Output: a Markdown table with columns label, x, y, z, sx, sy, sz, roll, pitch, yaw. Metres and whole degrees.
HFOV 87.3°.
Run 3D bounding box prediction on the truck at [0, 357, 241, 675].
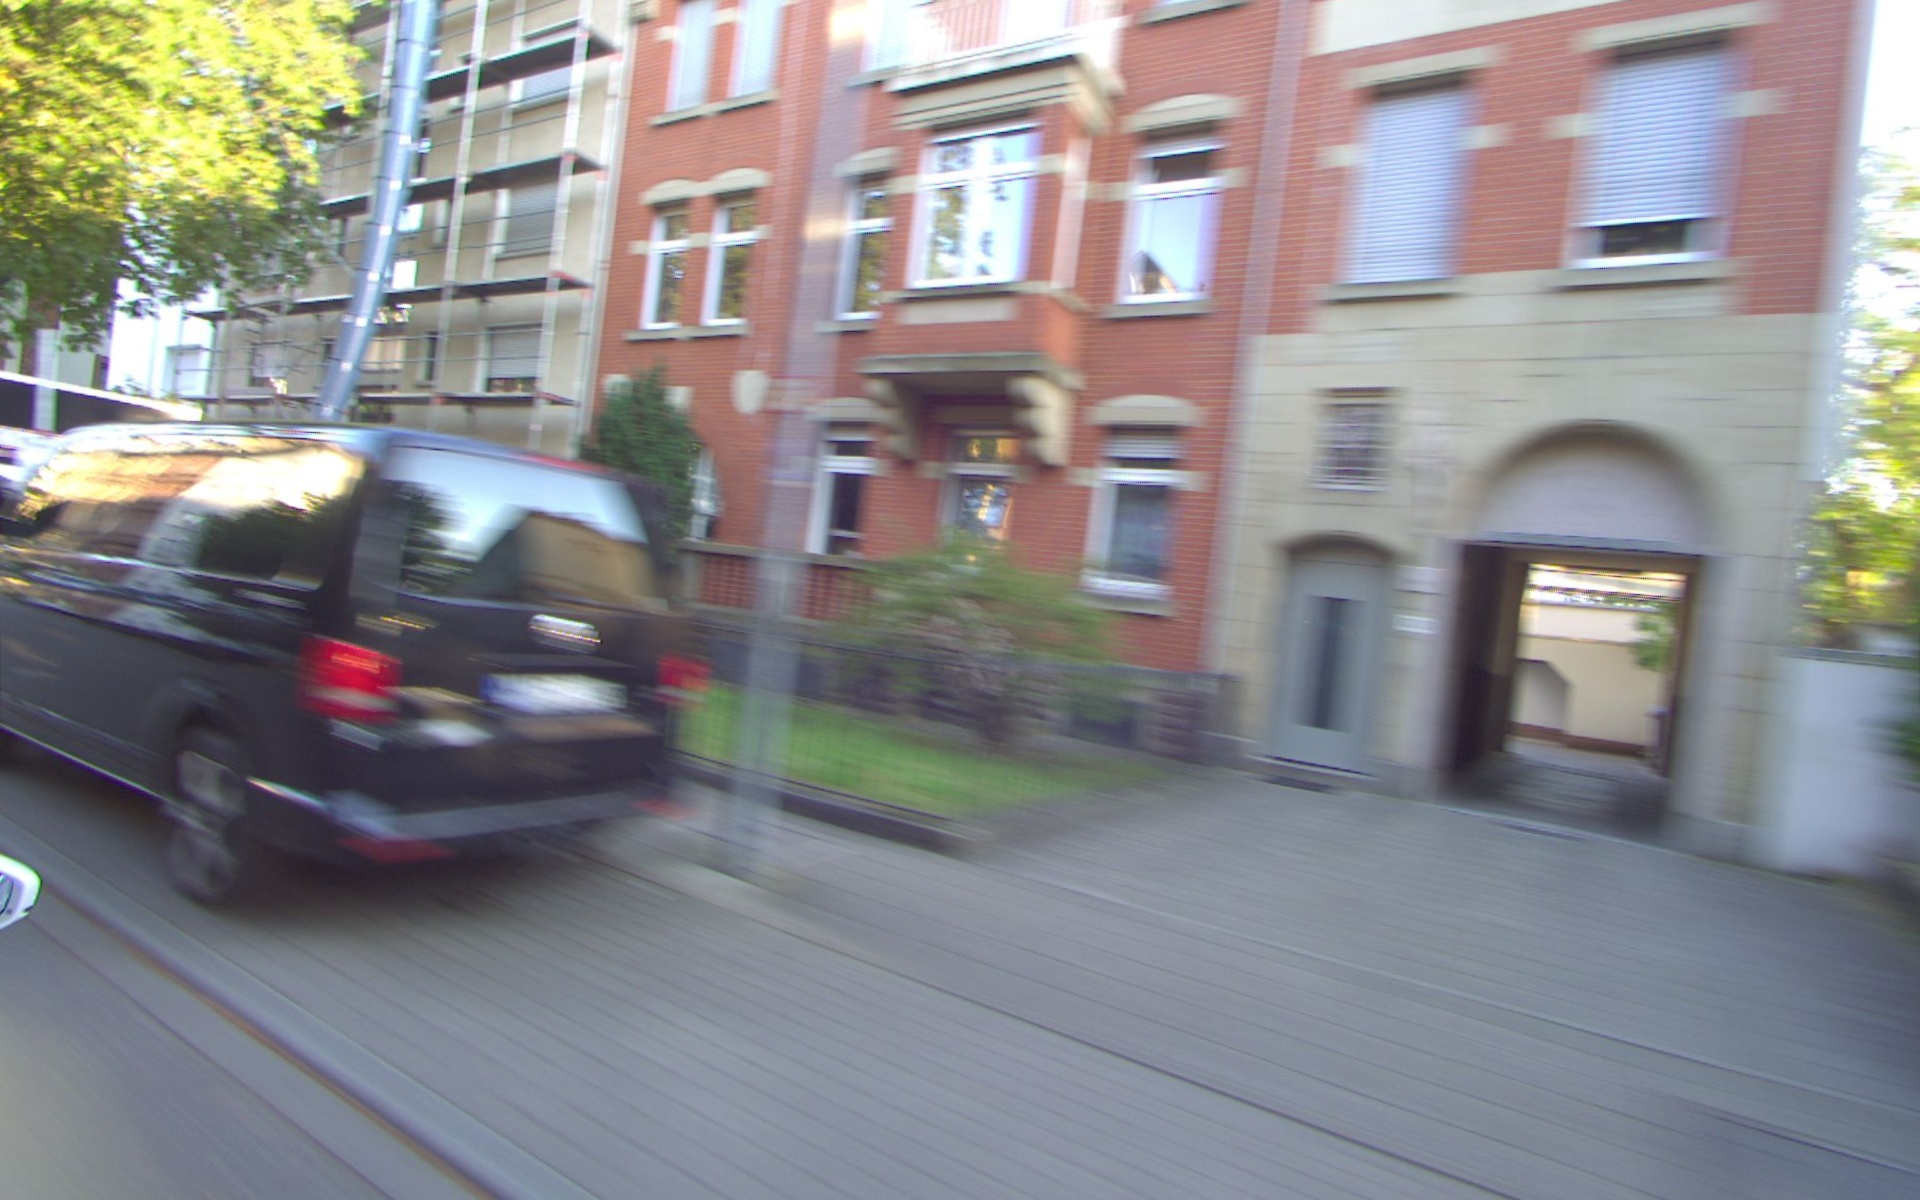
| label | x | y | z | sx | sy | sz | roll | pitch | yaw |
| --- | --- | --- | --- | --- | --- | --- | --- | --- | --- |
| truck | -8.567 | -0.831 | 8.821 | 4.567 | 2.276 | 1.955 | 8 | 2 | 31 |

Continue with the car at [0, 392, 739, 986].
| label | x | y | z | sx | sy | sz | roll | pitch | yaw |
| --- | --- | --- | --- | --- | --- | --- | --- | --- | --- |
| car | -3.577 | 0.100 | 5.309 | 4.535 | 1.968 | 1.840 | 8 | 2 | 31 |
